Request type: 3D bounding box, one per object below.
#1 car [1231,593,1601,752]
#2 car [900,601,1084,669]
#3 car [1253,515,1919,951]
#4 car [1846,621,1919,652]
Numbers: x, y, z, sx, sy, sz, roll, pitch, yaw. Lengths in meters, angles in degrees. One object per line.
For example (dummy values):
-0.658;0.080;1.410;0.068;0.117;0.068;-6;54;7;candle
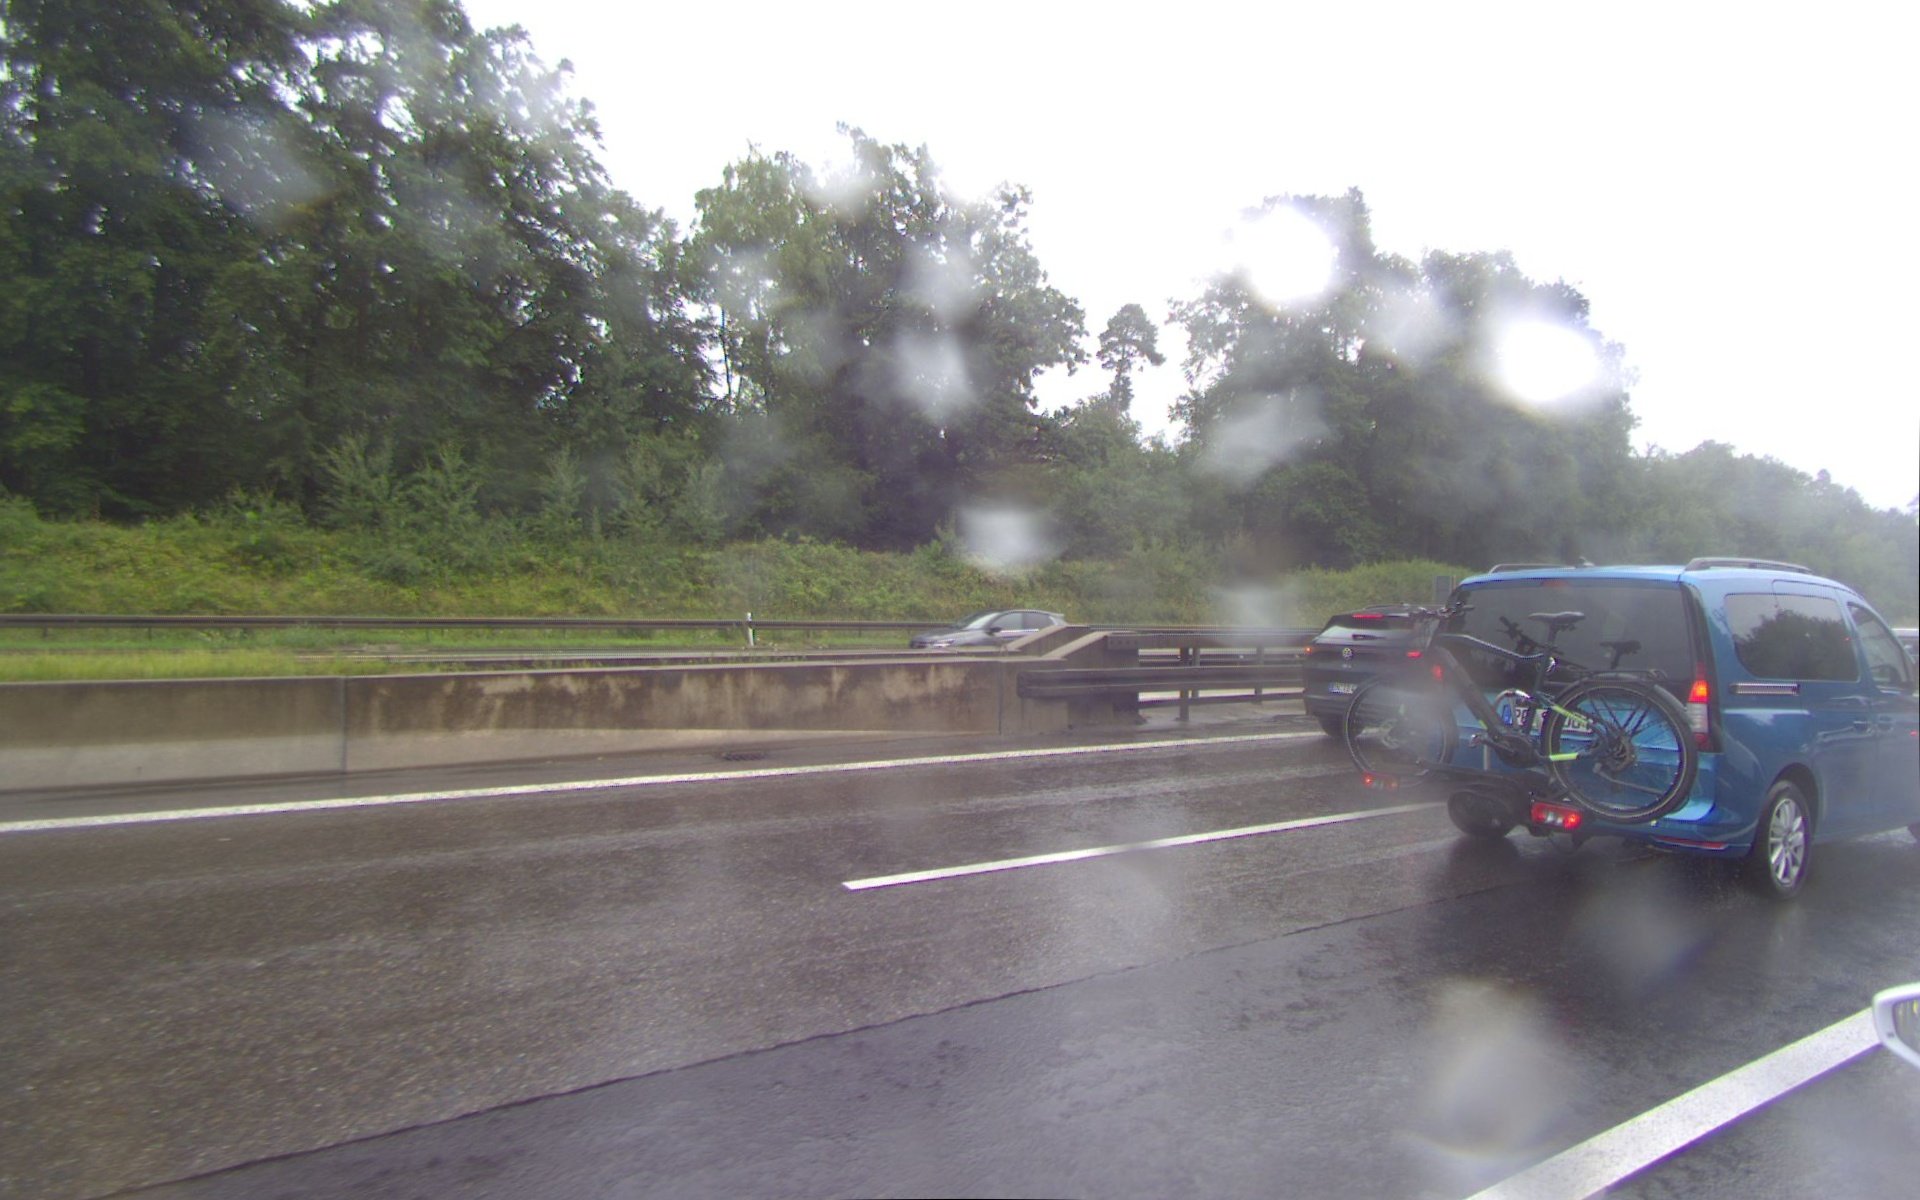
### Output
5.562;0.769;12.139;4.413;1.613;1.837;1;0;-30;car
0.709;0.741;21.943;3.633;1.363;1.793;1;0;-30;car
4.593;0.624;6.669;4.954;1.937;2.260;1;0;-29;car
48.696;1.904;52.904;4.556;1.517;1.826;1;0;-32;car
